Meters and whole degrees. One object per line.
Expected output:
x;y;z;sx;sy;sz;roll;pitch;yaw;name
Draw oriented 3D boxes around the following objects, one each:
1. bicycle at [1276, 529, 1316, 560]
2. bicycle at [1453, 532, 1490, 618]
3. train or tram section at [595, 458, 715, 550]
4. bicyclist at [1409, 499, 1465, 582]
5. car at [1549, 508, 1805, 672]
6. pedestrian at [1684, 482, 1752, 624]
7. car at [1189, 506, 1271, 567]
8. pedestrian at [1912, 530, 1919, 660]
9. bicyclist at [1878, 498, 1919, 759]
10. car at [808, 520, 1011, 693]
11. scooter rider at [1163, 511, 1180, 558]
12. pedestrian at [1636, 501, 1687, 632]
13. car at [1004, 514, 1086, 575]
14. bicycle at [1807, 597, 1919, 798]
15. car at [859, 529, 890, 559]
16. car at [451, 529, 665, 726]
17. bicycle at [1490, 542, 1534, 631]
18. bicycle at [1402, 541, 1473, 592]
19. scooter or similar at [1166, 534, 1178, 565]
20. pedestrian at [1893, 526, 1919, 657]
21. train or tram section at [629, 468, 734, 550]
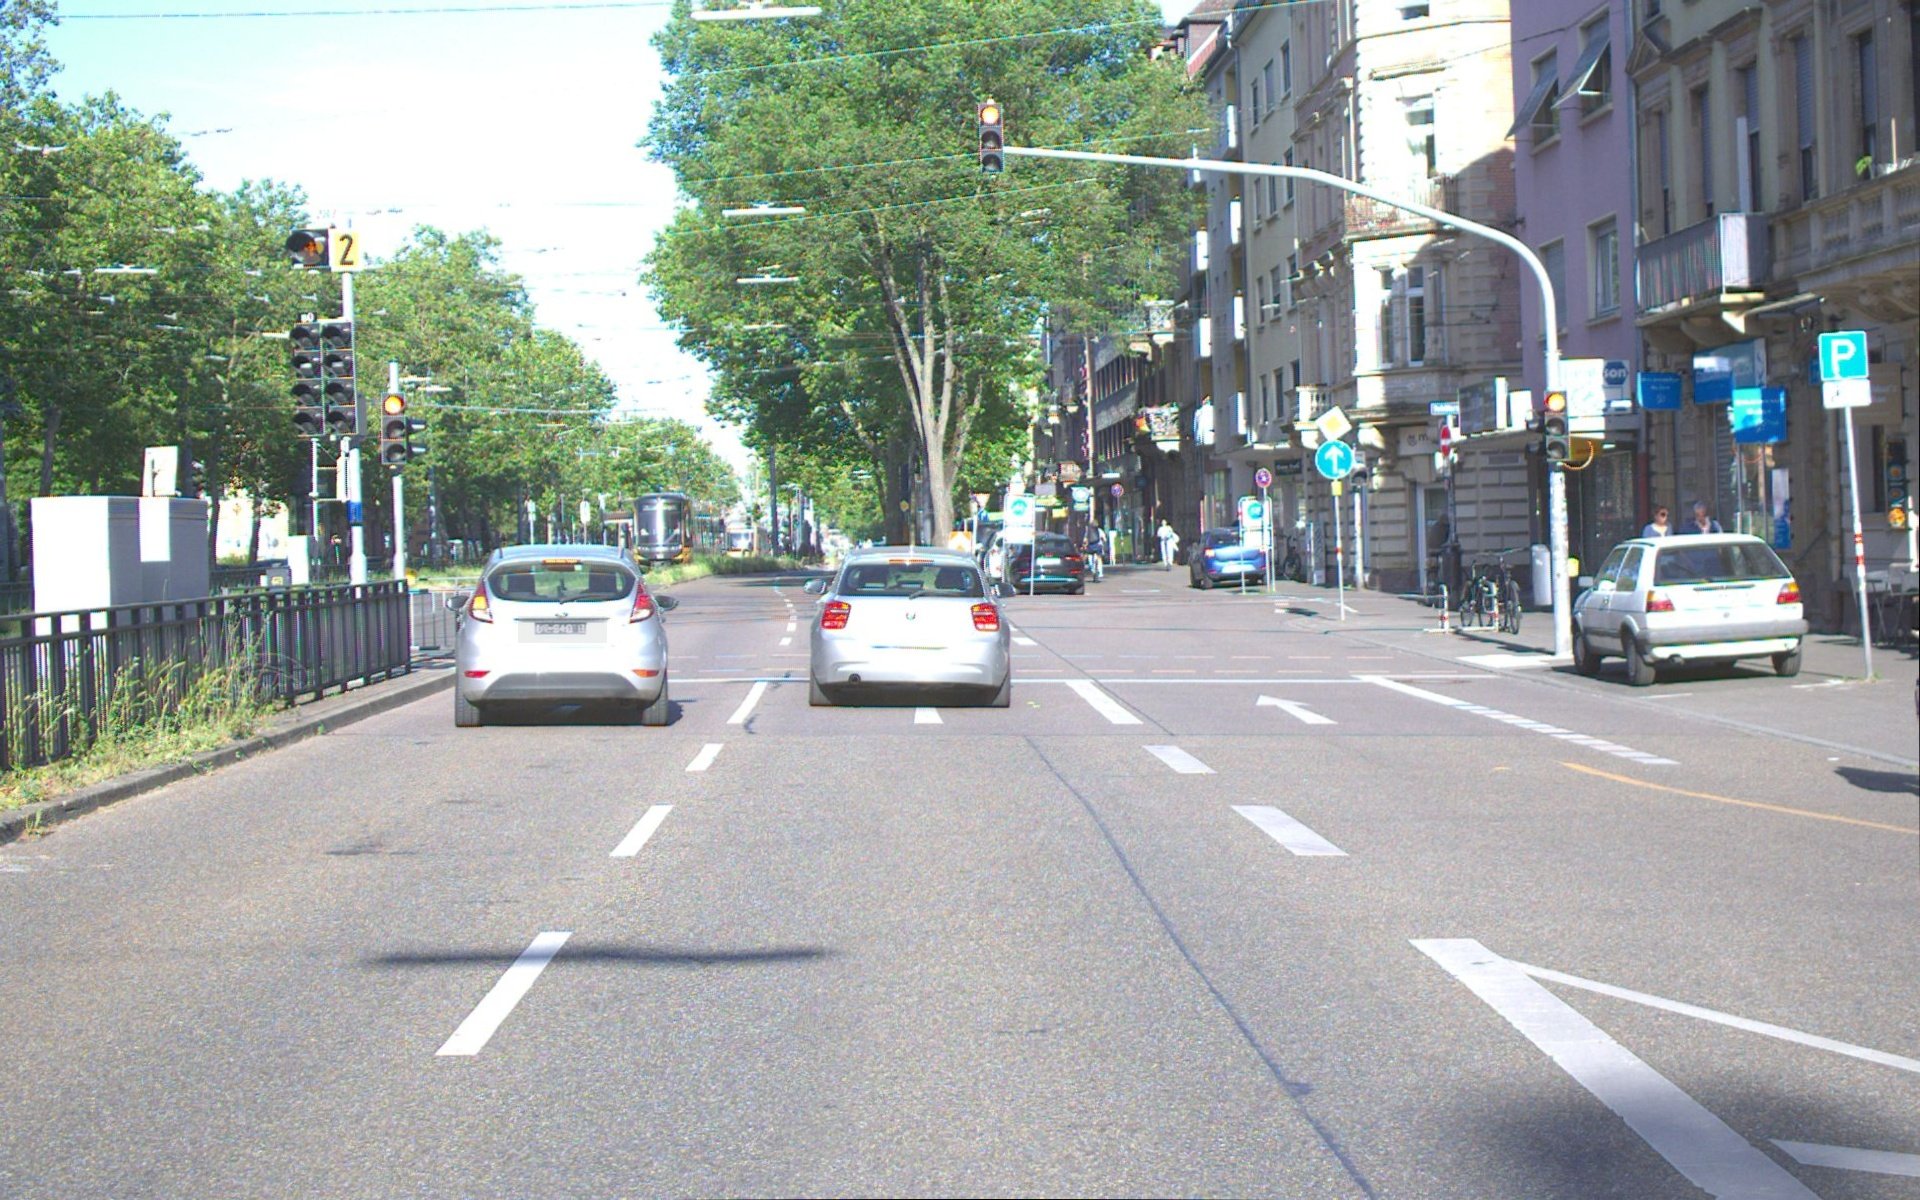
8.627;-1.433;88.385;0.754;0.768;1.946;-1;2;-2;bicycle
7.055;-0.355;47.447;0.414;1.137;1.809;-1;2;6;bicycle
-13.539;-4.308;154.247;3.969;3.852;17.490;-1;2;-1;train or tram section
8.721;-1.092;62.839;0.548;1.496;0.959;0;2;41;bicyclist
7.080;-0.146;34.304;1.562;1.411;4.004;-5;2;-1;car
9.893;-0.614;44.891;0.673;1.800;0.531;-3;1;-1;pedestrian
6.873;-1.645;87.817;1.735;1.514;3.637;0;2;-2;car
9.834;-0.061;33.411;0.900;1.277;0.656;-3;1;-5;pedestrian
5.769;0.158;19.266;0.745;1.456;0.951;-1;1;-42;bicyclist
-0.467;0.014;31.574;1.740;1.462;4.001;0;2;-1;car
6.868;-2.113;111.725;0.465;1.500;0.811;-1;0;0;scooter rider
9.176;-0.441;44.976;0.549;1.702;0.388;-2;1;2;pedestrian
2.015;-1.346;82.180;1.735;1.428;3.678;0;2;-2;car
5.805;0.543;19.230;0.757;1.098;1.952;-3;2;-44;bicycle
-5.969;-3.928;240.289;1.993;2.006;4.000;-2;2;-1;car
-3.334;0.173;28.497;1.609;1.462;3.891;-1;2;-7;car
7.495;-0.193;46.728;0.448;1.155;1.758;-1;2;5;bicycle
8.743;-0.612;62.871;0.654;0.900;1.335;0;2;41;bicycle
6.872;-1.646;111.680;0.337;0.984;1.284;-1;2;2;scooter or similar
9.750;-0.094;34.083;0.797;1.277;0.608;-1;1;-2;pedestrian
-13.779;-4.552;171.663;4.005;3.852;17.490;-1;2;-1;train or tram section
